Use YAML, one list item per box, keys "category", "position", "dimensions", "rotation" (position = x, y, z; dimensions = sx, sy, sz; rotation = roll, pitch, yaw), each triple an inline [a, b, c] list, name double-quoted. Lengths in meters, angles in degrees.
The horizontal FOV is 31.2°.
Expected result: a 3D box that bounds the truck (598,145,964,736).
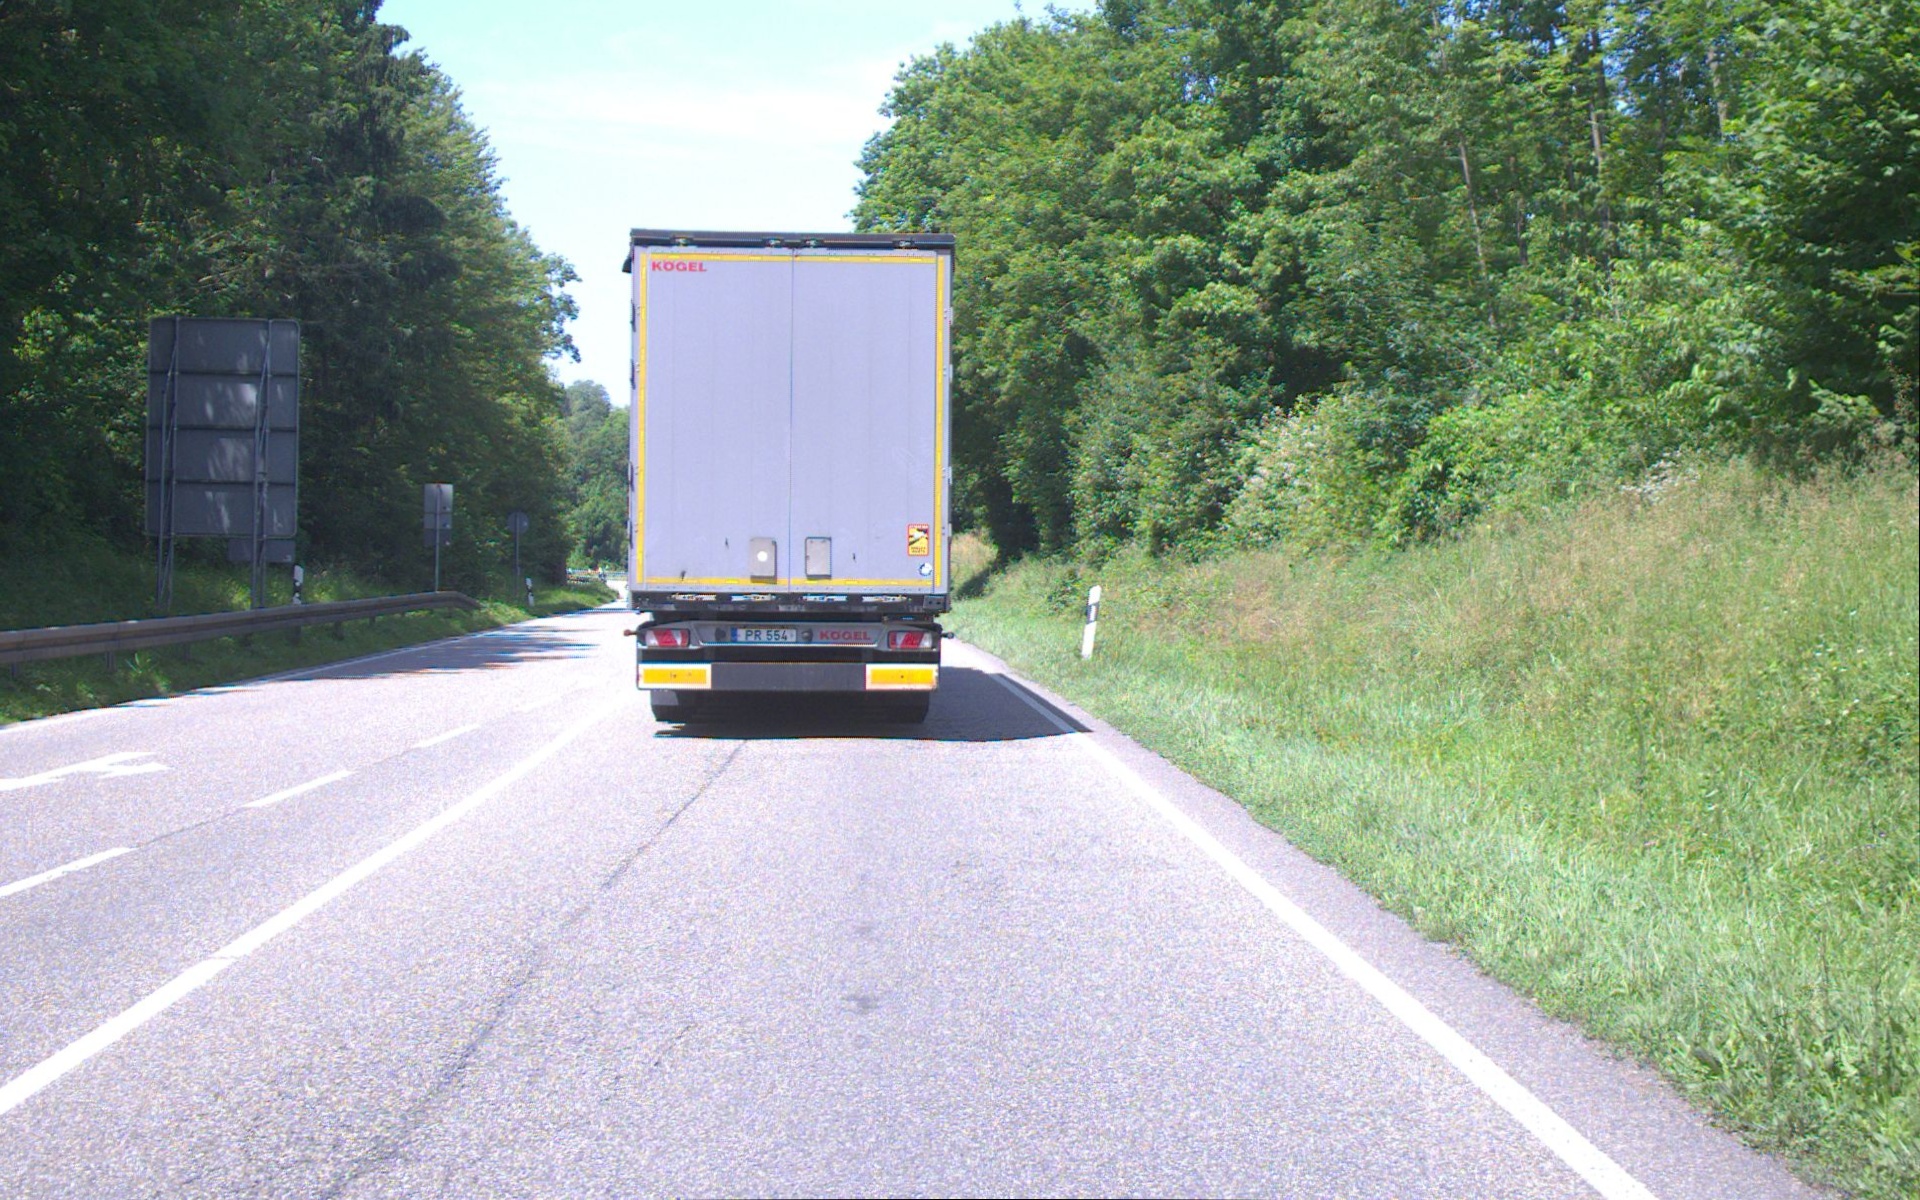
- category: "truck"
  position: [-1.507, -1.352, 30.216]
  dimensions: [2.822, 4.587, 6.666]
  rotation: [1, 2, -2]
